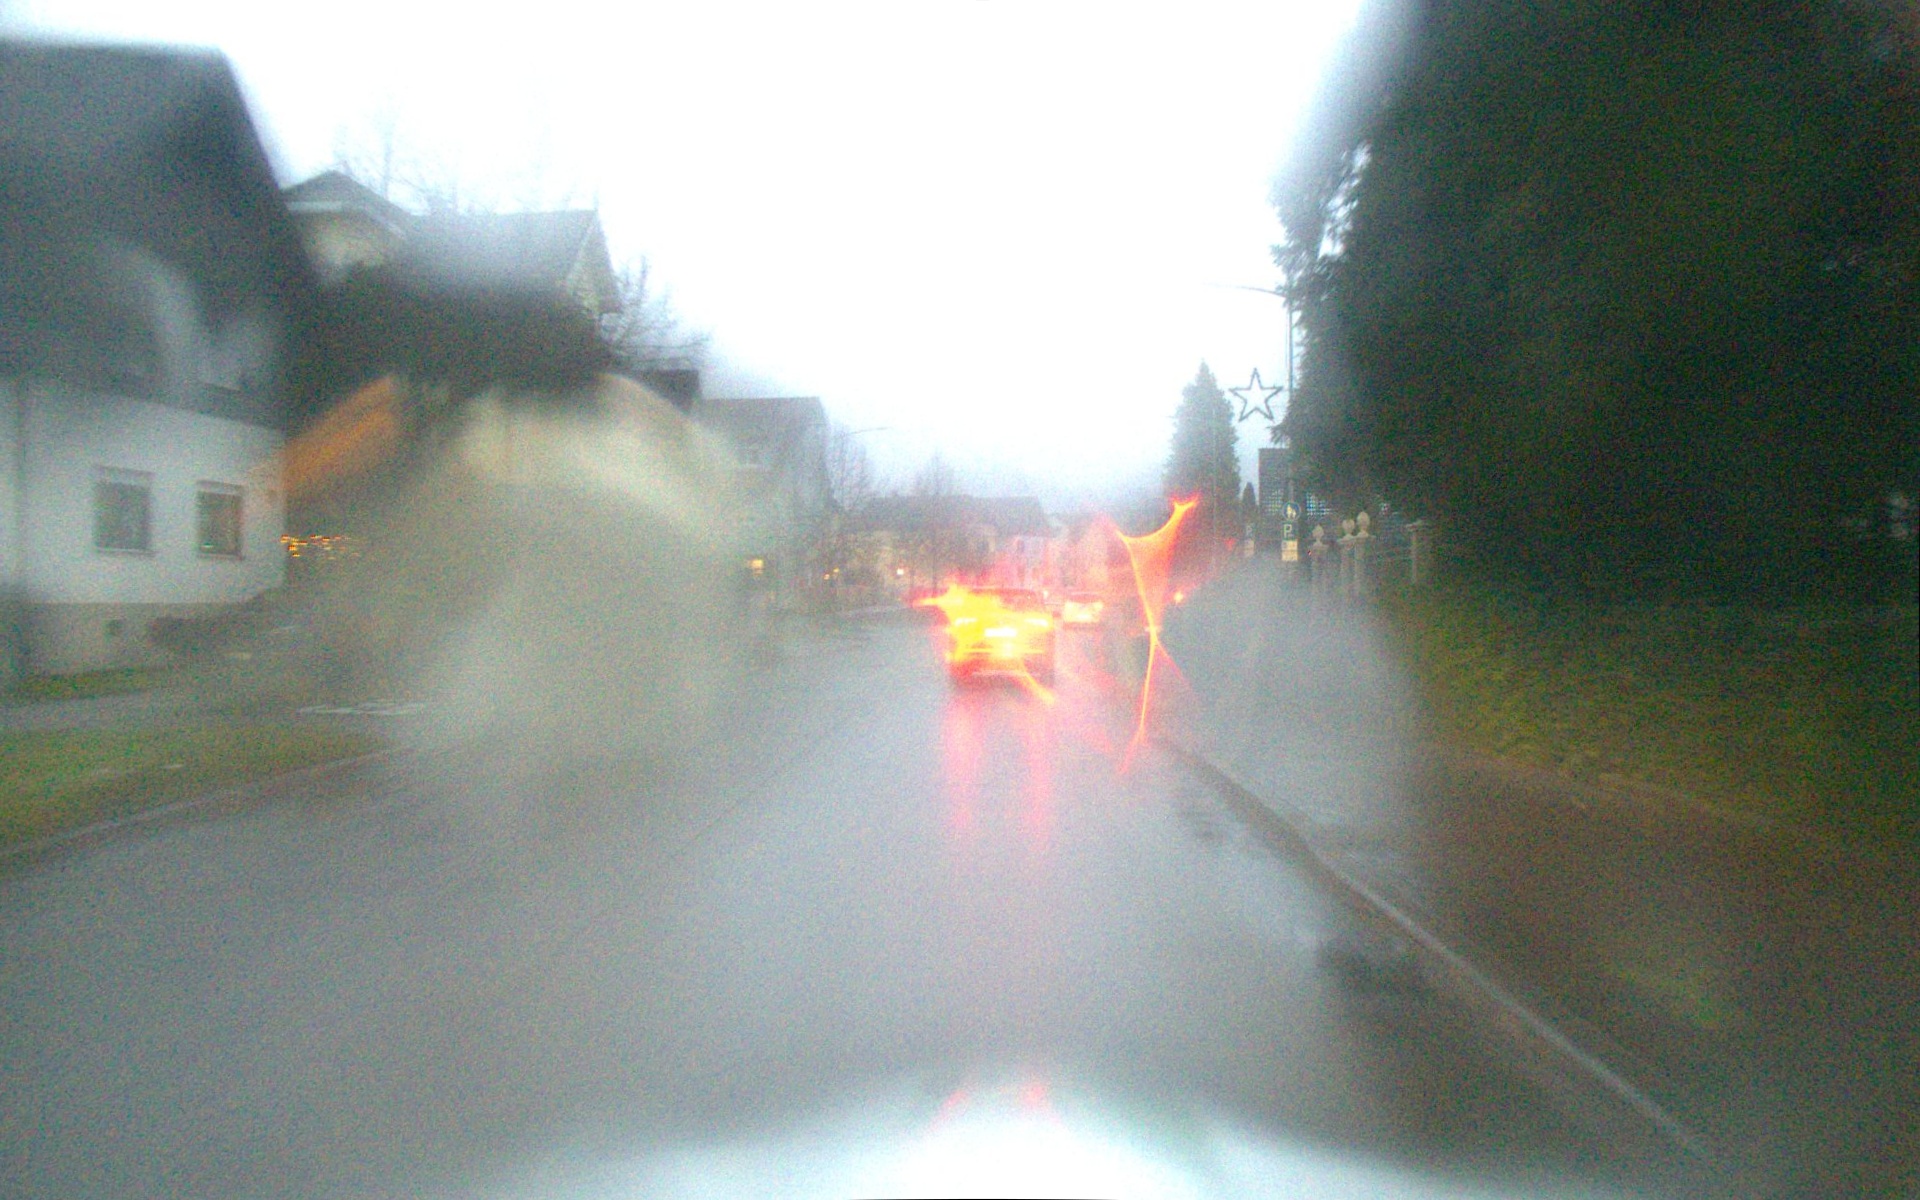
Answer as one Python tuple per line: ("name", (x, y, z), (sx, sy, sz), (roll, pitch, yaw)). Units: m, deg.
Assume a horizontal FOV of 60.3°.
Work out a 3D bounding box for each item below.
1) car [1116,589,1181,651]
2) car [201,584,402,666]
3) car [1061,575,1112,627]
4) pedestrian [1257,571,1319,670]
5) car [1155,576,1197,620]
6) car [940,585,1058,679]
("car", (5.010, 0.502, 44.057), (1.614, 1.567, 3.393), (1, 0, 6))
("car", (-11.991, 0.433, 30.408), (1.744, 1.390, 4.003), (0, 0, 6))
("car", (5.096, 0.041, 66.866), (1.951, 2.049, 4.002), (0, 0, 4))
("pedestrian", (6.106, 0.377, 30.863), (0.966, 1.772, 1.056), (-2, 0, 5))
("car", (10.992, -0.150, 83.922), (1.935, 2.048, 5.750), (-3, 0, 9))
("car", (0.700, 0.511, 29.249), (1.952, 1.552, 4.001), (0, 0, 2))
